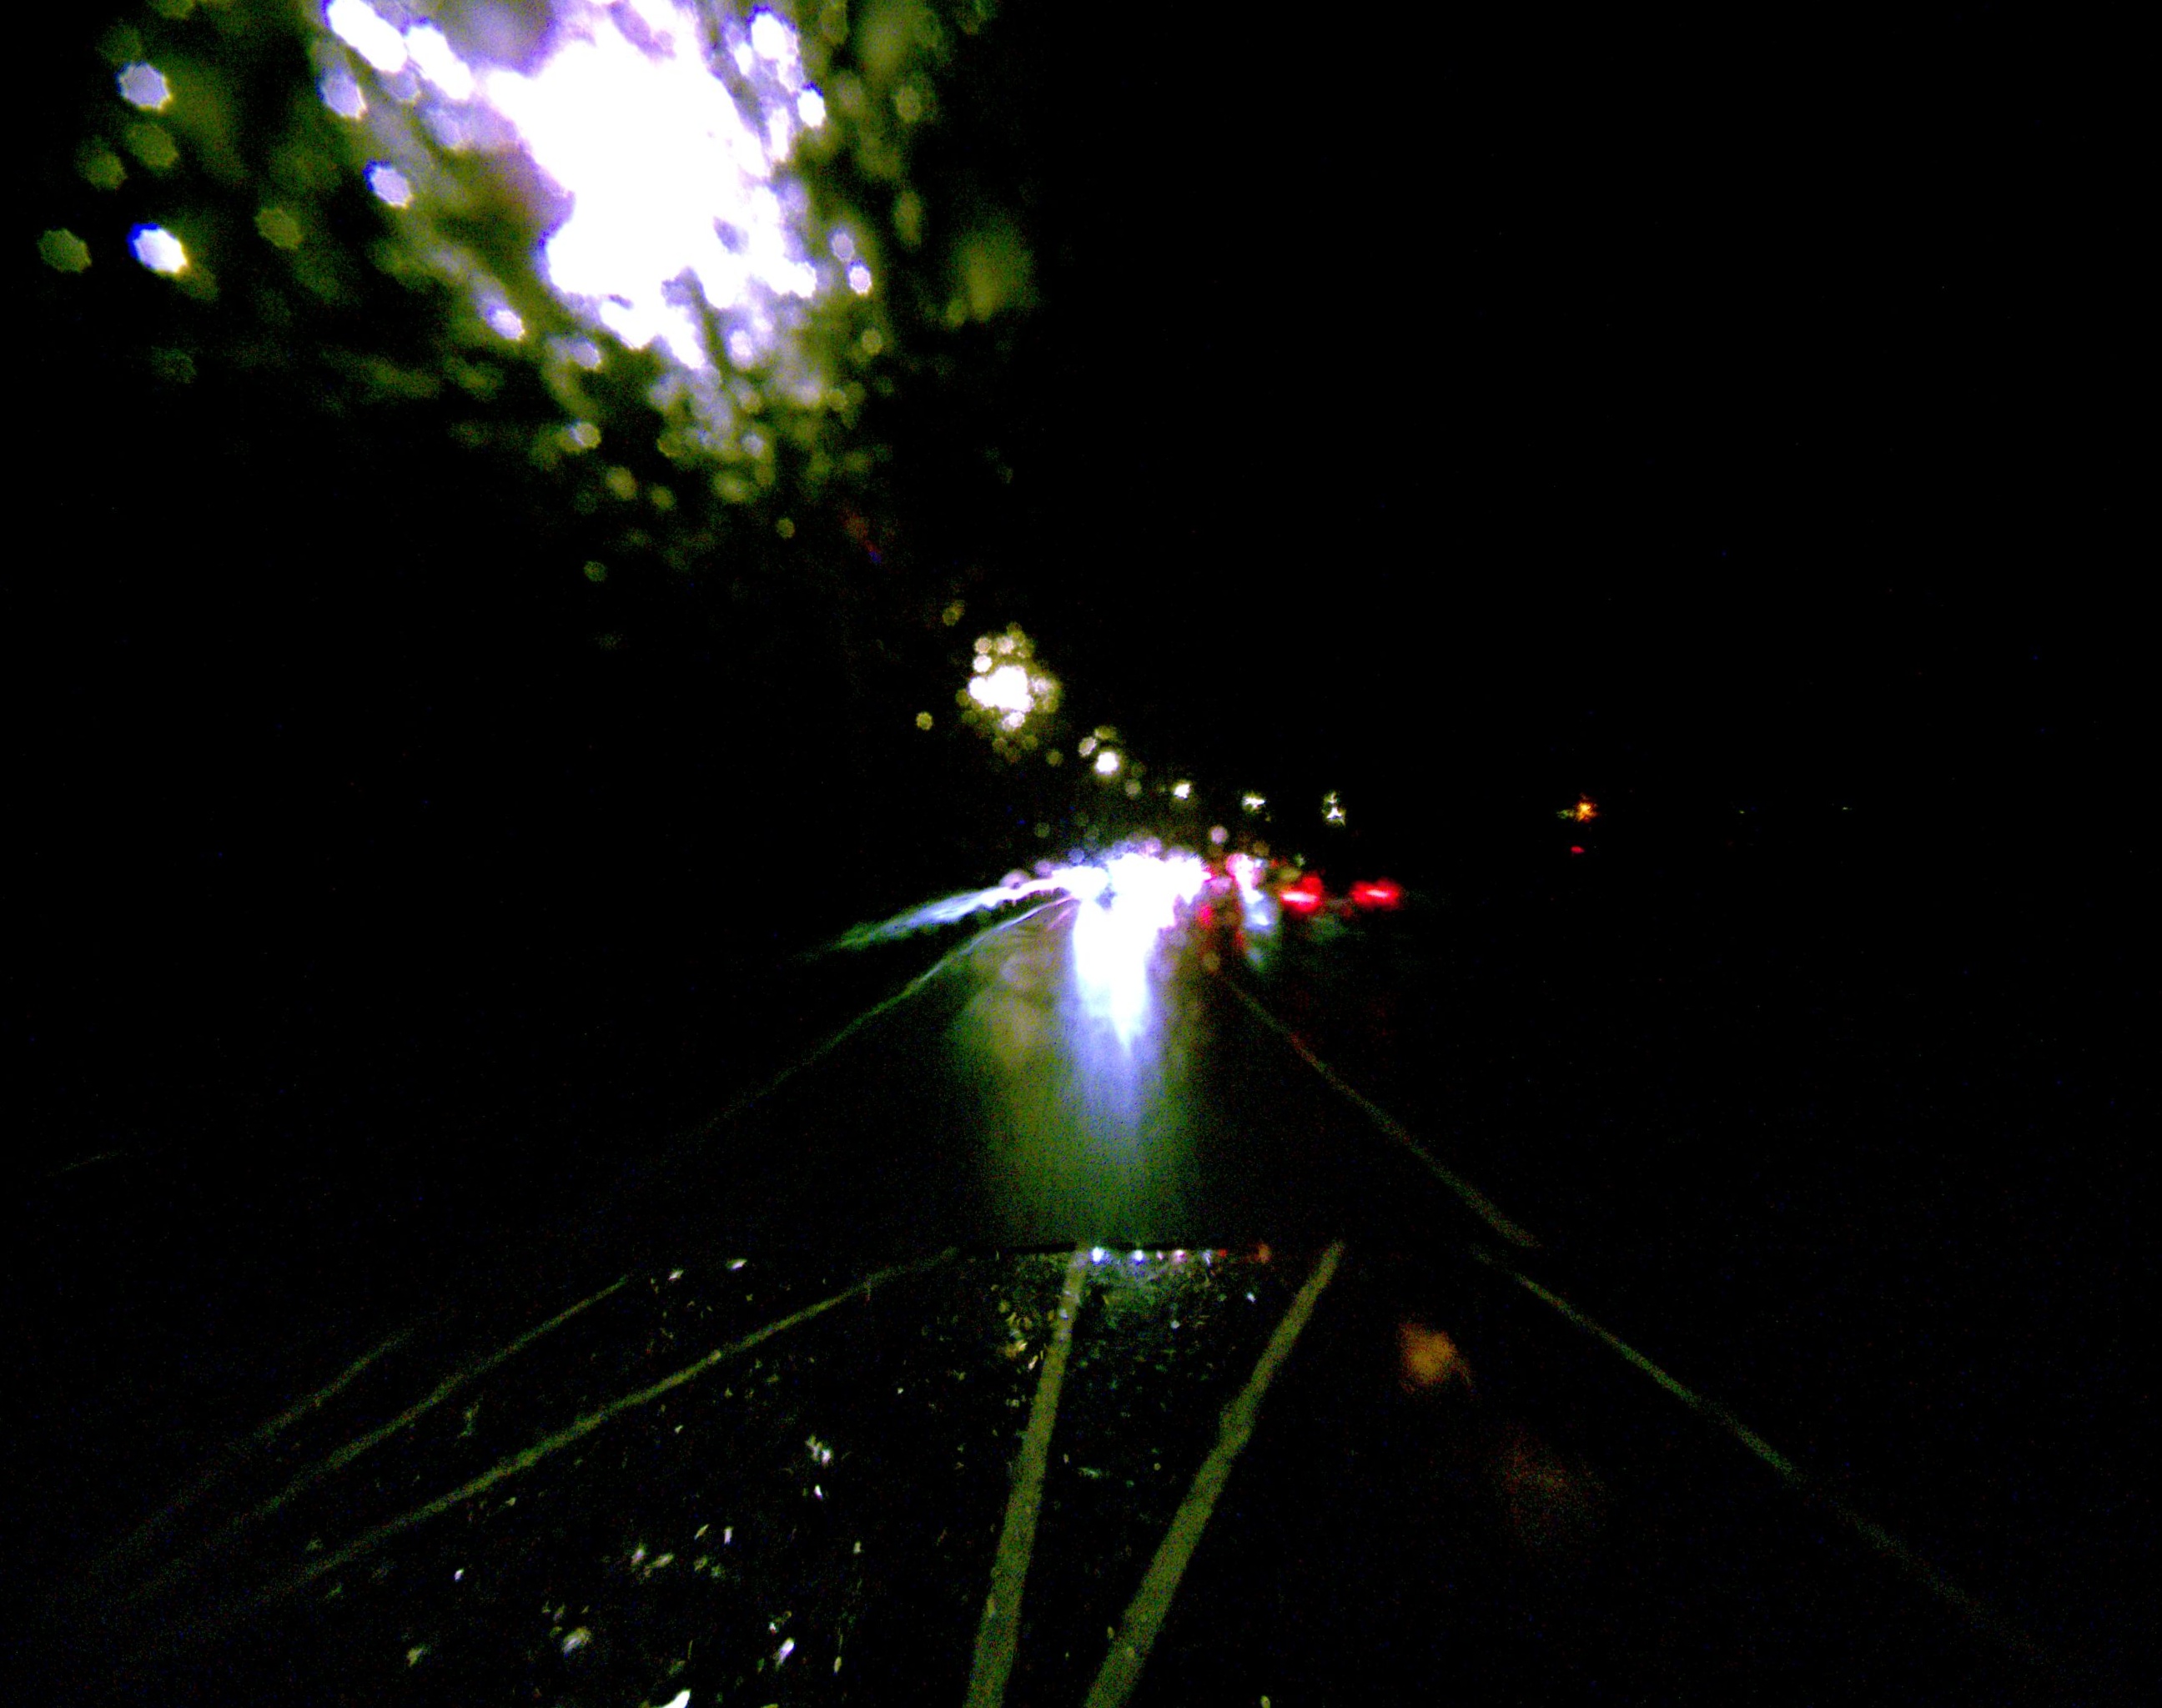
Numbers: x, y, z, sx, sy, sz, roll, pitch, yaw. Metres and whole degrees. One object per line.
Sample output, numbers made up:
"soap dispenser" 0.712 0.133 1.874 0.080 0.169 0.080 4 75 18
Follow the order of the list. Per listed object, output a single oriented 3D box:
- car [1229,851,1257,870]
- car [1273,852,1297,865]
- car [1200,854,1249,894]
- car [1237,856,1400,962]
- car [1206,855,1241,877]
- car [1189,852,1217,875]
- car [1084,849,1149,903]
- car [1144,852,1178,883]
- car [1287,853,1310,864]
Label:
"car" 17.749 0.696 83.059 1.995 1.922 4.007 -2 -1 27
"car" 22.154 0.461 82.443 1.730 1.396 3.870 -1 0 27
"car" 5.569 0.731 29.812 1.668 1.423 3.822 -2 0 8
"car" 3.845 0.808 13.012 1.621 1.470 4.047 -2 0 2
"car" 9.874 0.815 52.481 1.794 1.384 4.597 -1 1 18
"car" 10.952 0.840 68.179 1.996 1.922 4.005 -2 -1 16
"car" 1.434 0.785 28.753 1.935 1.861 4.003 -2 -1 10
"car" 5.289 0.874 49.835 1.997 1.922 4.003 -2 -1 8
"car" 29.489 0.607 103.064 1.995 1.475 4.008 -2 0 30
